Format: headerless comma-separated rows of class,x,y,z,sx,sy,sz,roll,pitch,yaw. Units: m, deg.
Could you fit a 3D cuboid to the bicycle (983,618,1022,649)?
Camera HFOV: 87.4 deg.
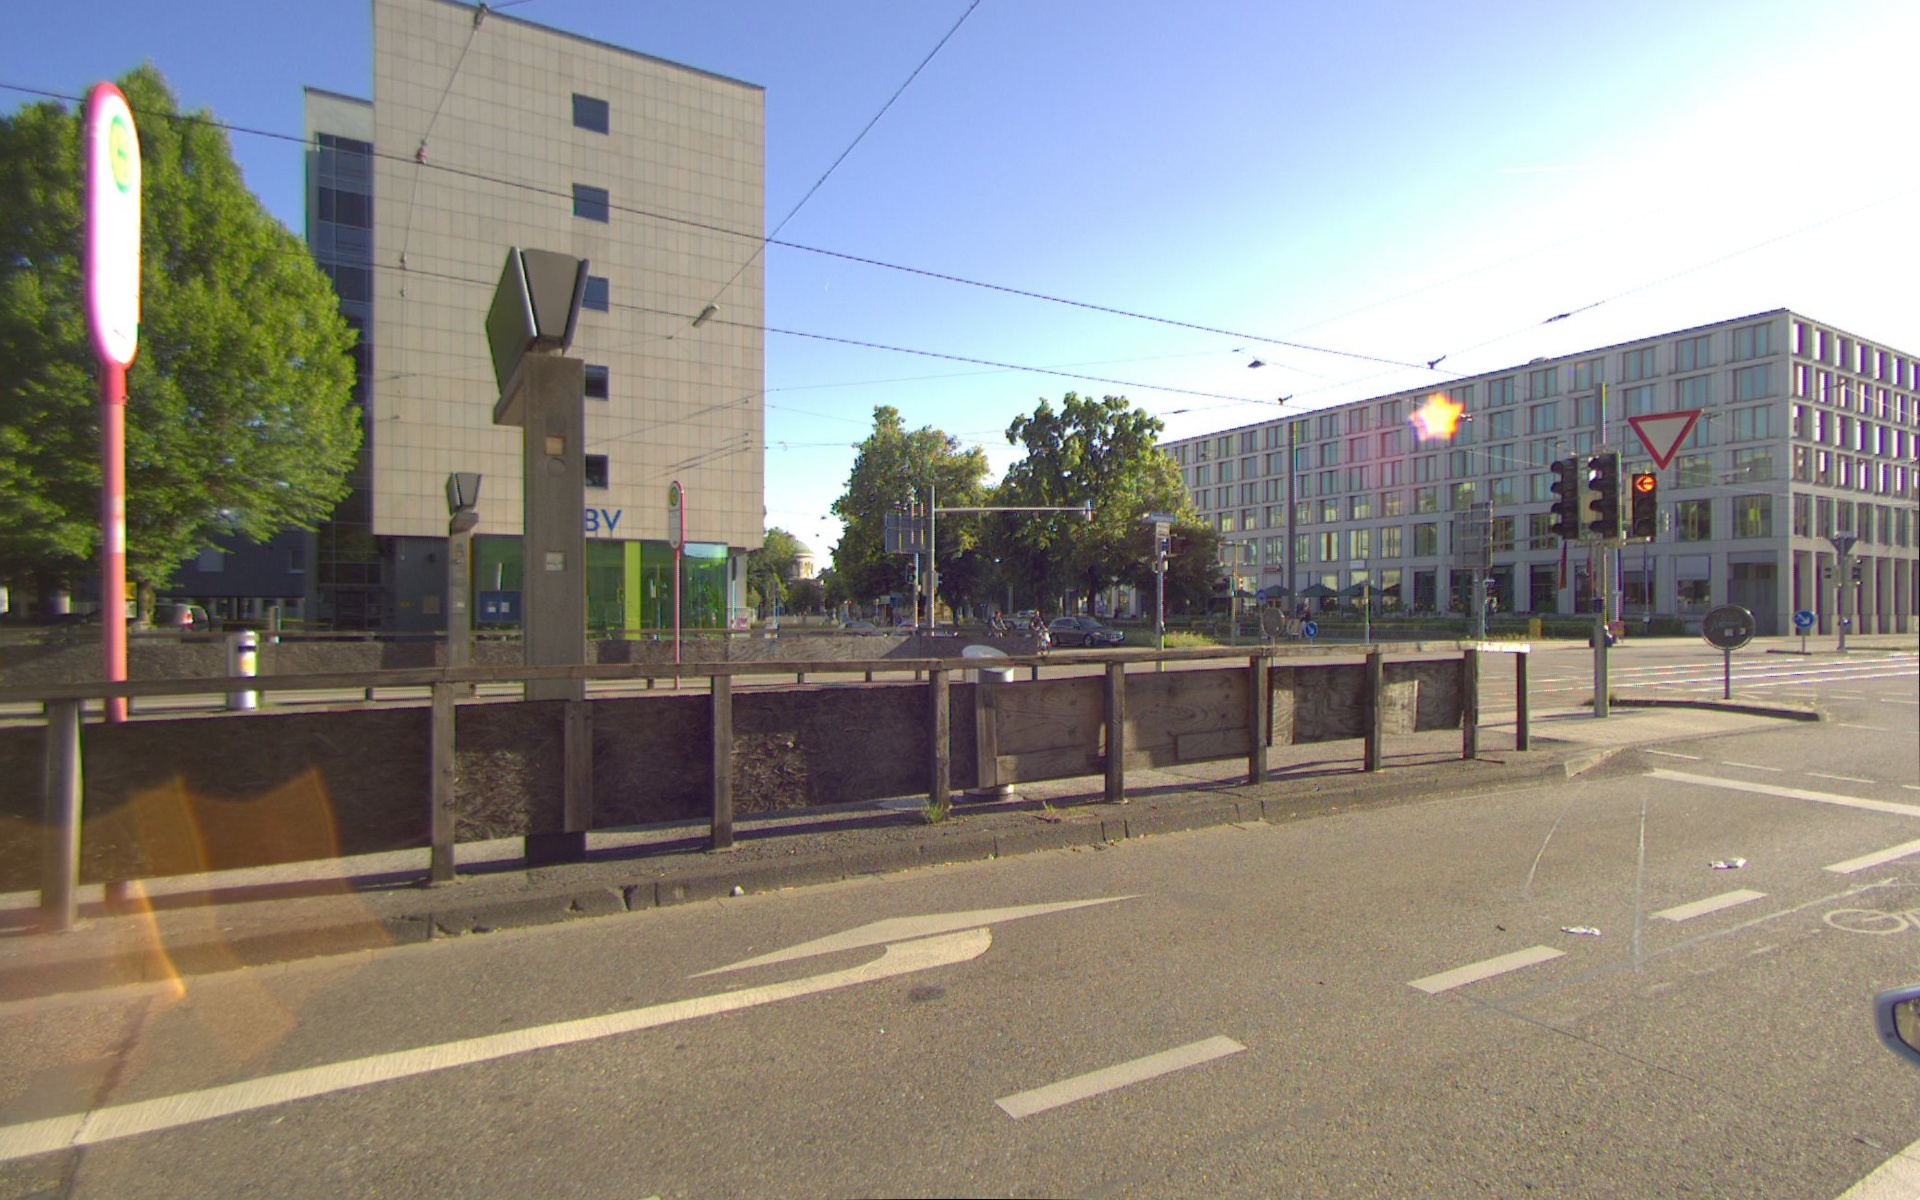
bicycle,1.801,1.439,43.312,0.874,1.305,2.042,0,-1,-24

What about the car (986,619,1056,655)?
car,2.813,1.702,46.838,1.505,1.526,3.511,0,0,-32

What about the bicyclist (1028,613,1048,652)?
bicyclist,3.192,1.322,41.168,0.586,1.603,0.617,0,-1,-24

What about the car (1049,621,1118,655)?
car,6.014,1.824,49.355,1.505,1.526,3.511,0,0,-32

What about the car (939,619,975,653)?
car,-0.103,1.534,43.262,1.441,1.311,3.229,-1,0,1

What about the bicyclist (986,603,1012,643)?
bicyclist,1.678,0.976,43.618,0.833,1.717,0.887,0,-1,-24

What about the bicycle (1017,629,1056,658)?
bicycle,3.156,1.791,41.456,0.779,1.137,1.918,0,-1,-25
